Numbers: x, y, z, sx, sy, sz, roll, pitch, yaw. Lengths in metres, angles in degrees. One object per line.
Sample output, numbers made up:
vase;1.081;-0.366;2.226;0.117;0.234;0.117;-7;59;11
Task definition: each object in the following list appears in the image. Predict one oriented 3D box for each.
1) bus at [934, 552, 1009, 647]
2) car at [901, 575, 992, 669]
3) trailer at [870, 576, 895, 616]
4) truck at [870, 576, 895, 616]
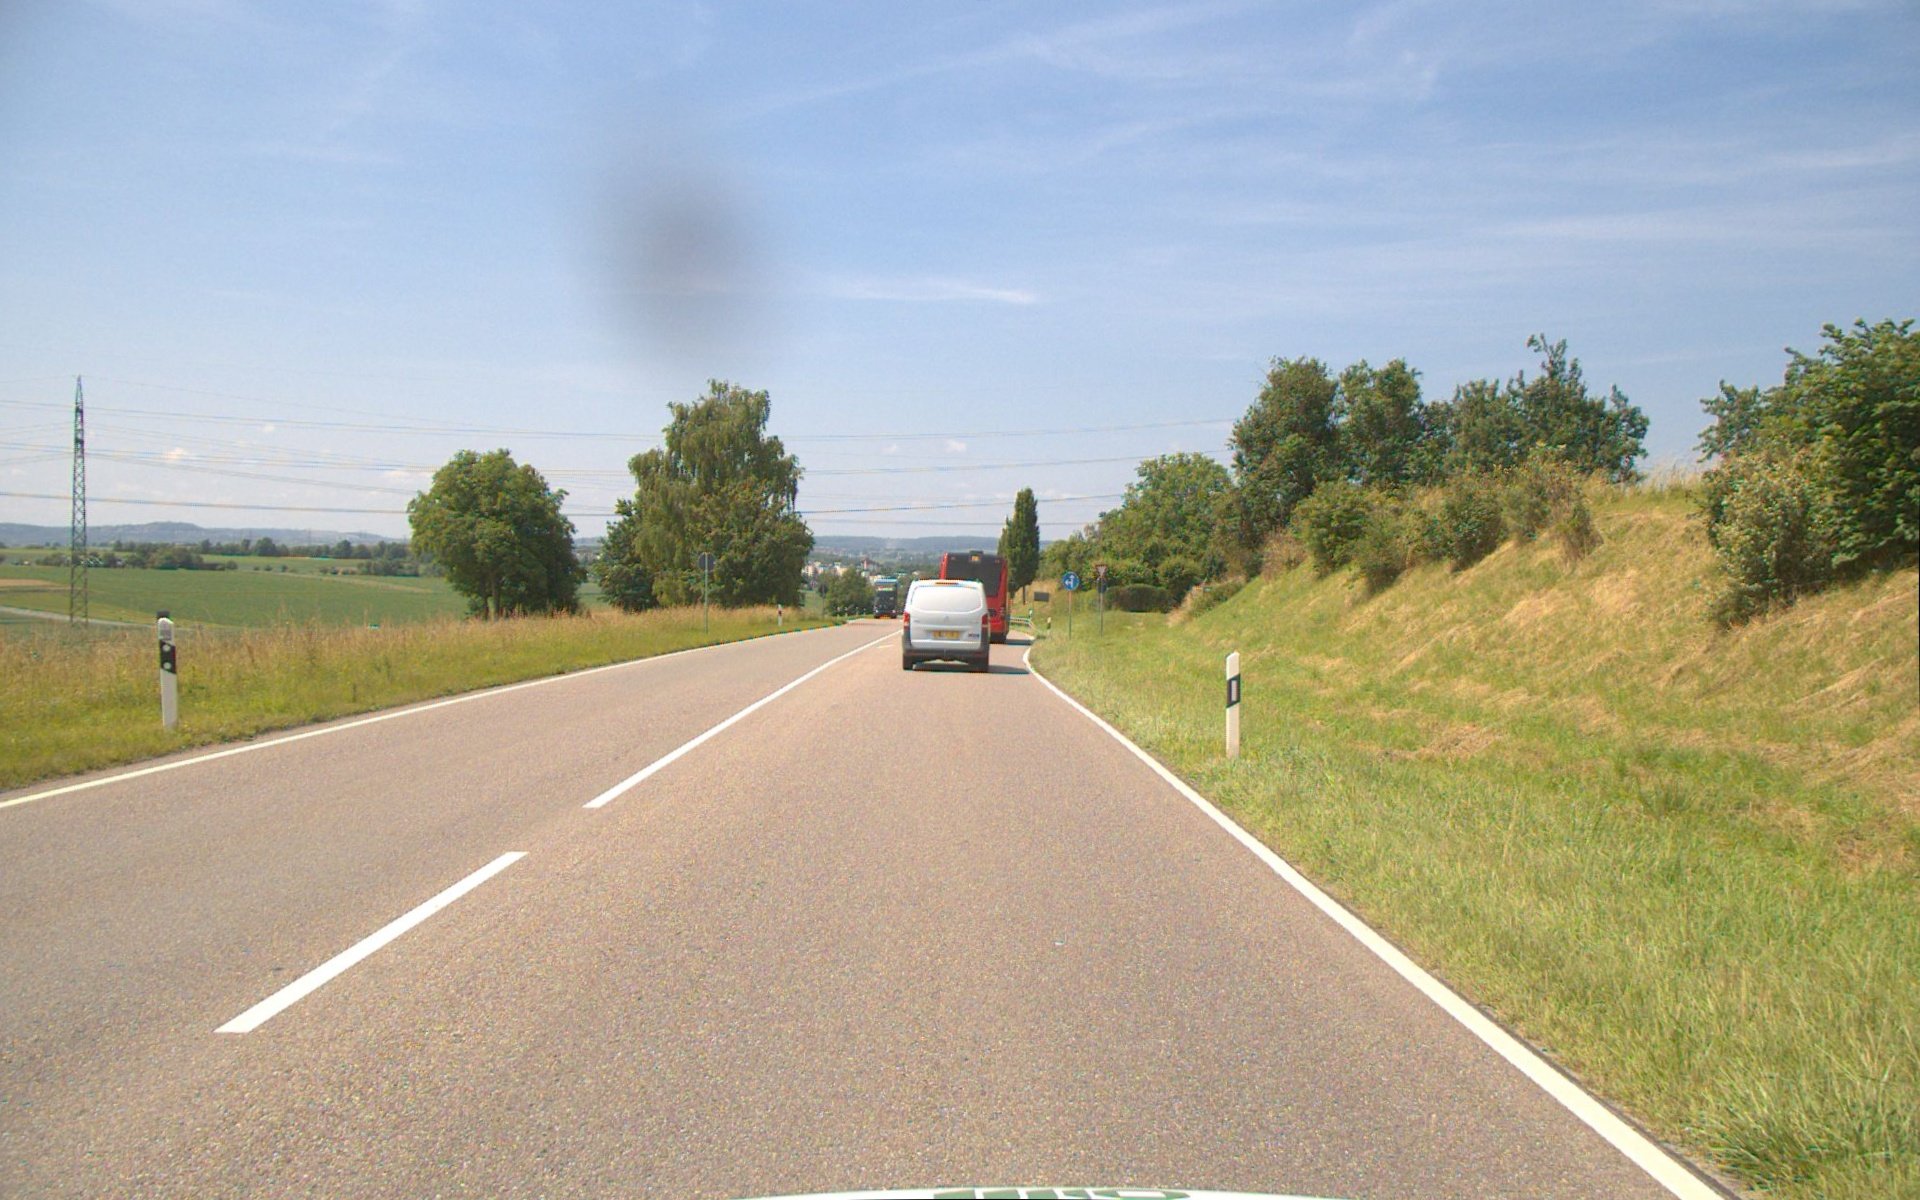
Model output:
bus;0.503;-0.186;66.893;2.690;3.411;13.224;-1;2;1
car;-0.287;0.441;36.026;1.884;1.922;4.000;0;0;0
trailer;-8.677;-0.409;185.139;2.541;4.215;13.733;1;0;-3
truck;-8.351;-0.402;178.028;2.533;4.176;5.439;1;0;-2
